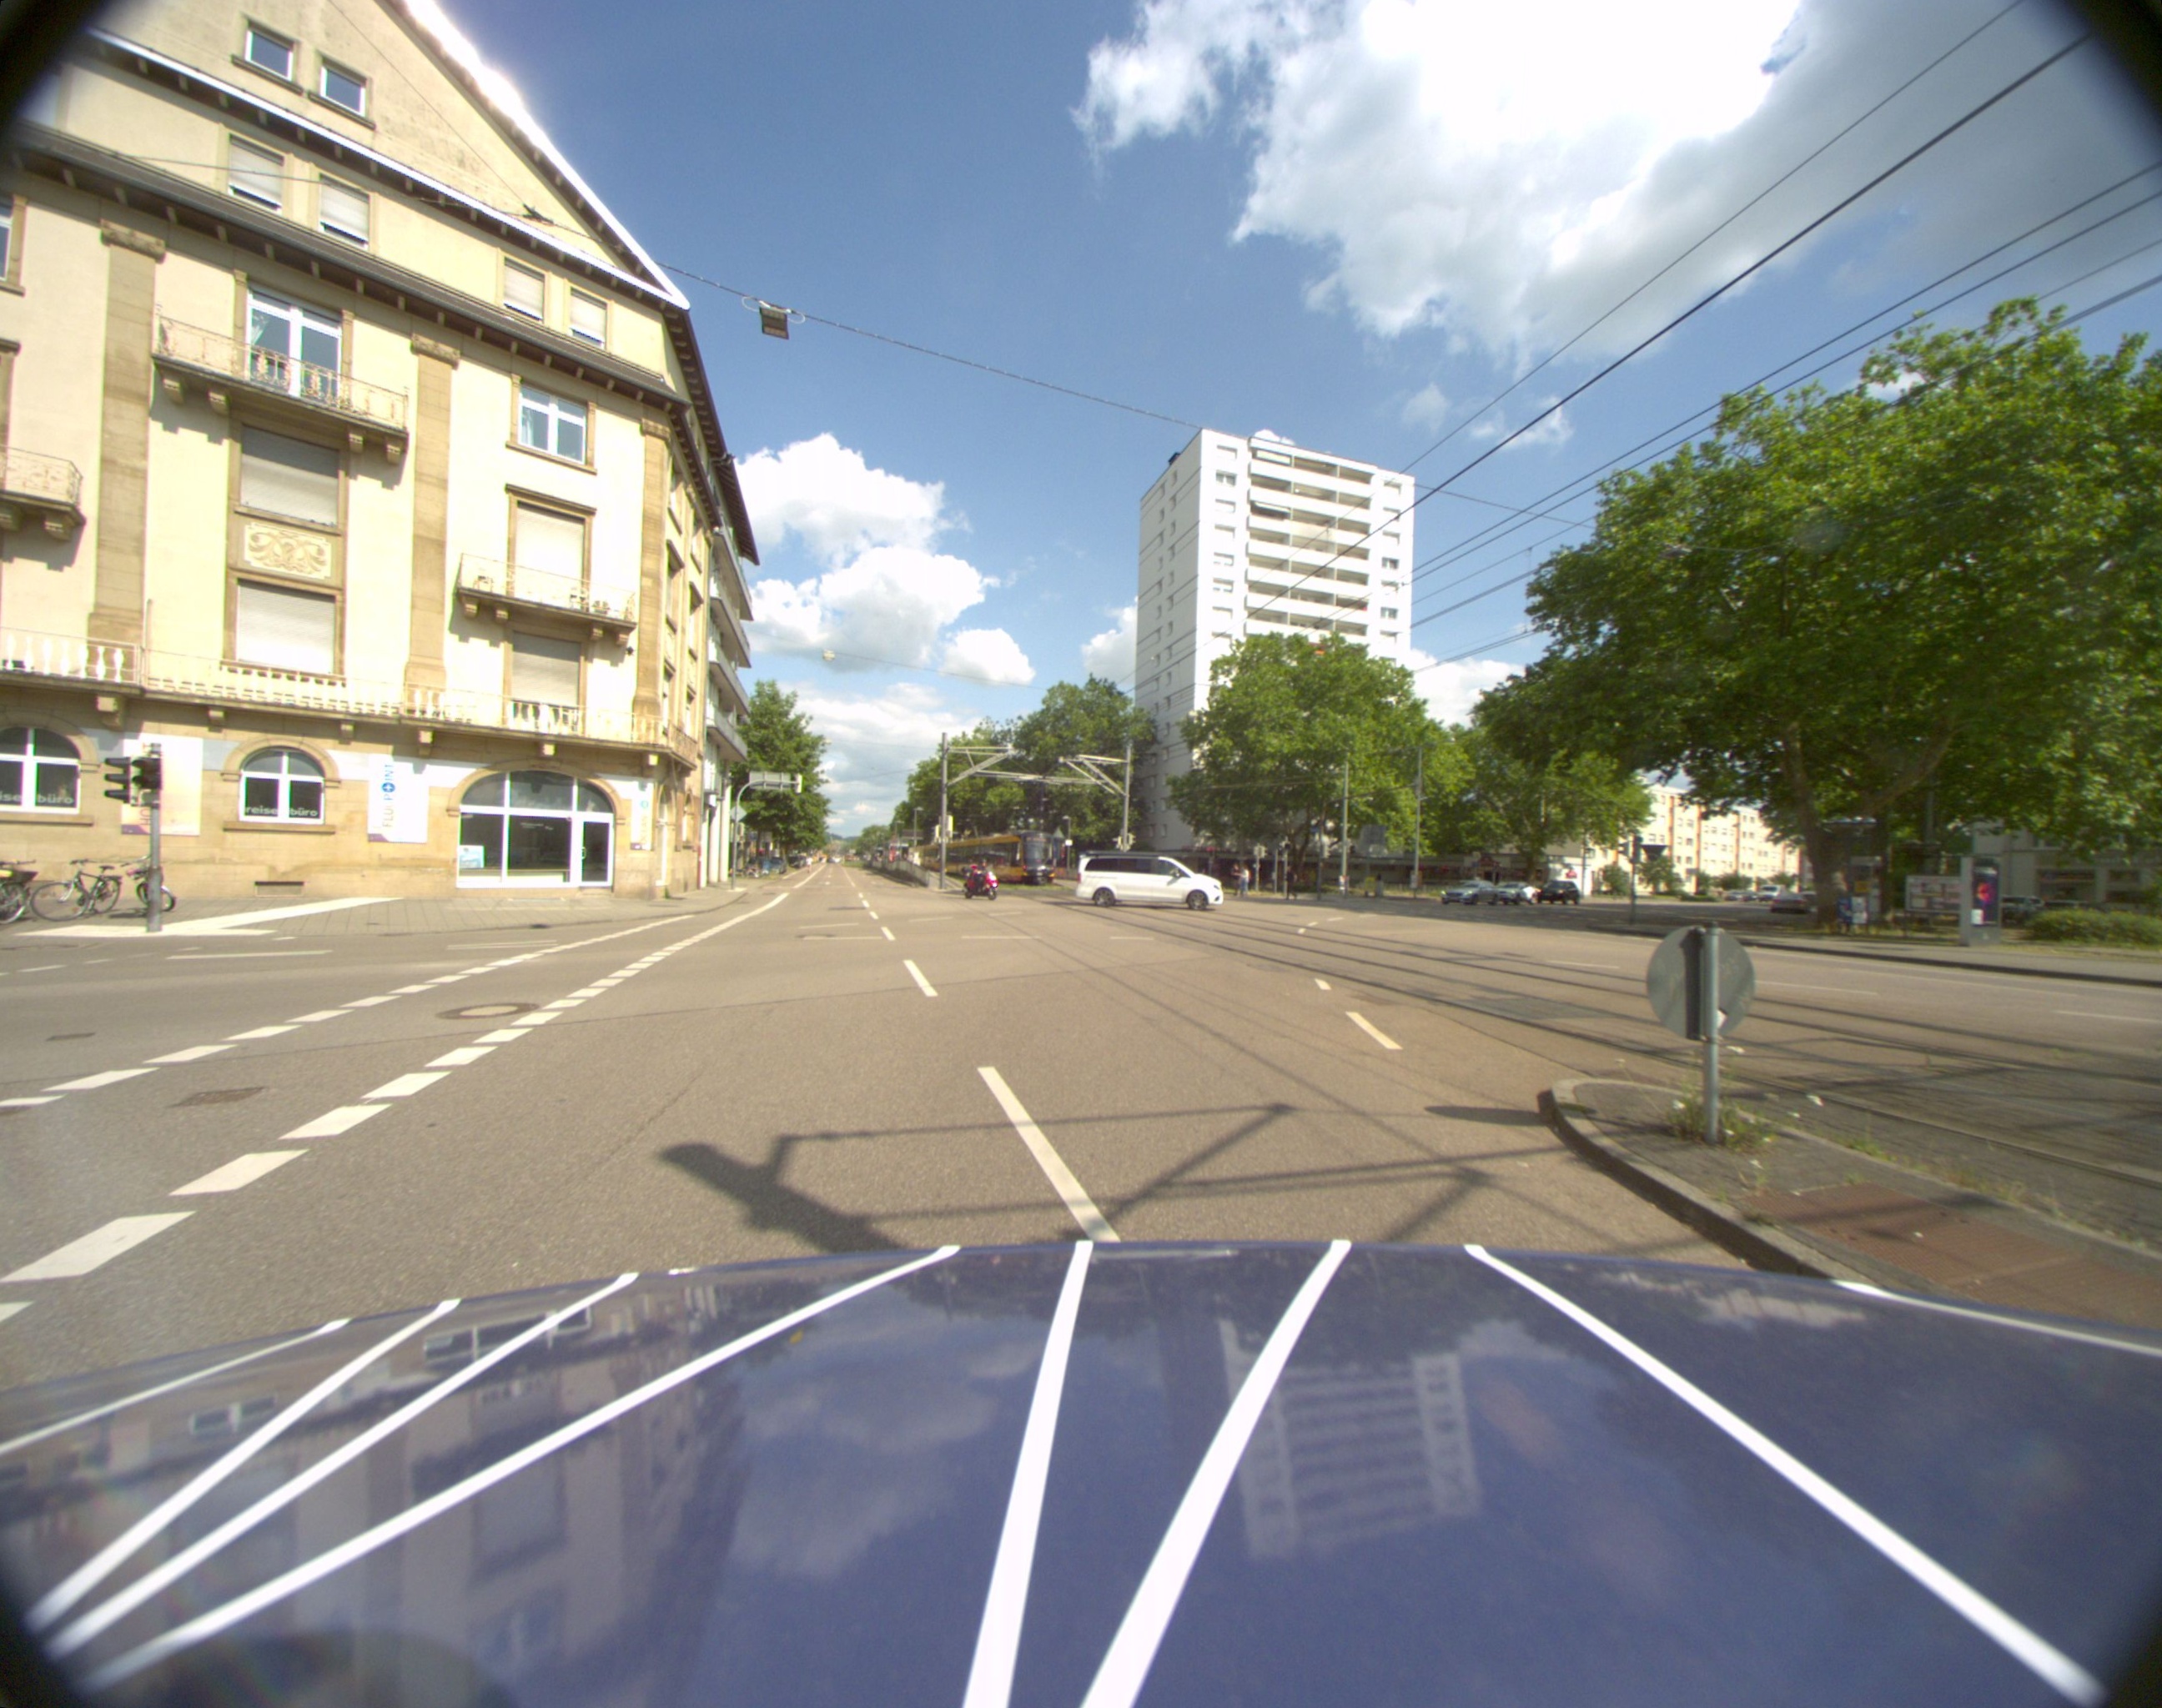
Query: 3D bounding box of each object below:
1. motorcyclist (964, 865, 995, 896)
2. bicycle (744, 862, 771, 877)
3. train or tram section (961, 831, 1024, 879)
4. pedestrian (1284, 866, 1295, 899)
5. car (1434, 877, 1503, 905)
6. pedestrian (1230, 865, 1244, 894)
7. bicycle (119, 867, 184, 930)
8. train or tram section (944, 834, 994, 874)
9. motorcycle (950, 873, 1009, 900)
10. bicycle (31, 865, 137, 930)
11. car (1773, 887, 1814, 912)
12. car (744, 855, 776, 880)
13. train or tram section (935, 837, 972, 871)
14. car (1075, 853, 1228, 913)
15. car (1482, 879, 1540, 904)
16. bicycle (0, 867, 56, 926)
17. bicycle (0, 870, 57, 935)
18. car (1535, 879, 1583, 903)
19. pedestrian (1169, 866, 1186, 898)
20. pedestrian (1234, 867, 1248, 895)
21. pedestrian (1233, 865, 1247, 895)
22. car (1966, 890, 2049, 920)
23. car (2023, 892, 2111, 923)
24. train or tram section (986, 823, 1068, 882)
[{"bbox_3d":[-4.070,1.060,30.393,0.974,1.210,0.700,2,0,35],"label":"motorcyclist"},{"bbox_3d":[-22.215,1.052,52.199,1.696,0.980,0.496,2,0,-20],"label":"bicycle"},{"bbox_3d":[-7.429,0.054,62.107,2.818,3.540,11.162,1,0,-18],"label":"train or tram section"},{"bbox_3d":[11.493,1.550,41.859,0.480,1.814,0.557,2,0,25],"label":"pedestrian"},{"bbox_3d":[22.480,2.128,44.014,4.008,1.481,1.856,2,0,-34],"label":"car"},{"bbox_3d":[9.169,1.484,44.591,0.513,1.661,0.555,1,0,-39],"label":"pedestrian"},{"bbox_3d":[-17.753,0.819,14.541,1.871,1.013,0.611,4,2,44],"label":"bicycle"},{"bbox_3d":[-10.932,0.001,73.227,2.817,3.540,12.137,1,0,-17],"label":"train or tram section"},{"bbox_3d":[-4.077,1.281,30.397,2.498,0.971,0.700,2,0,35],"label":"motorcycle"},{"bbox_3d":[-18.379,0.775,14.058,0.611,1.013,1.871,2,2,-34],"label":"bicycle"},{"bbox_3d":[49.064,3.096,52.300,4.009,1.492,1.685,1,0,-41],"label":"car"},{"bbox_3d":[-24.945,1.013,59.170,1.855,1.778,3.993,4,-1,-19],"label":"car"},{"bbox_3d":[-14.081,0.016,83.232,2.778,3.462,8.893,2,0,-17],"label":"train or tram section"},{"bbox_3d":[2.528,0.967,26.897,5.163,1.880,2.002,2,0,10],"label":"car"},{"bbox_3d":[27.339,2.382,48.275,4.085,1.481,1.856,2,-1,-39],"label":"car"},{"bbox_3d":[-19.901,0.752,13.505,1.933,1.013,0.538,2,2,-39],"label":"bicycle"},{"bbox_3d":[-18.119,0.823,12.441,0.603,1.013,1.873,3,1,-17],"label":"bicycle"},{"bbox_3d":[33.571,2.577,53.345,4.009,1.610,1.685,2,0,-40],"label":"car"},{"bbox_3d":[5.185,1.512,41.012,0.672,1.693,0.647,1,0,-15],"label":"pedestrian"},{"bbox_3d":[9.307,1.548,44.164,0.513,1.588,0.555,1,0,-39],"label":"pedestrian"},{"bbox_3d":[9.280,1.536,44.428,0.530,1.725,0.555,1,0,-39],"label":"pedestrian"},{"bbox_3d":[55.651,3.033,45.639,4.088,1.650,1.848,2,0,-19],"label":"car"},{"bbox_3d":[56.460,3.044,43.501,4.088,1.650,1.848,2,0,-19],"label":"car"},{"bbox_3d":[-3.932,-0.093,51.419,2.808,3.540,11.358,1,0,-18],"label":"train or tram section"}]
